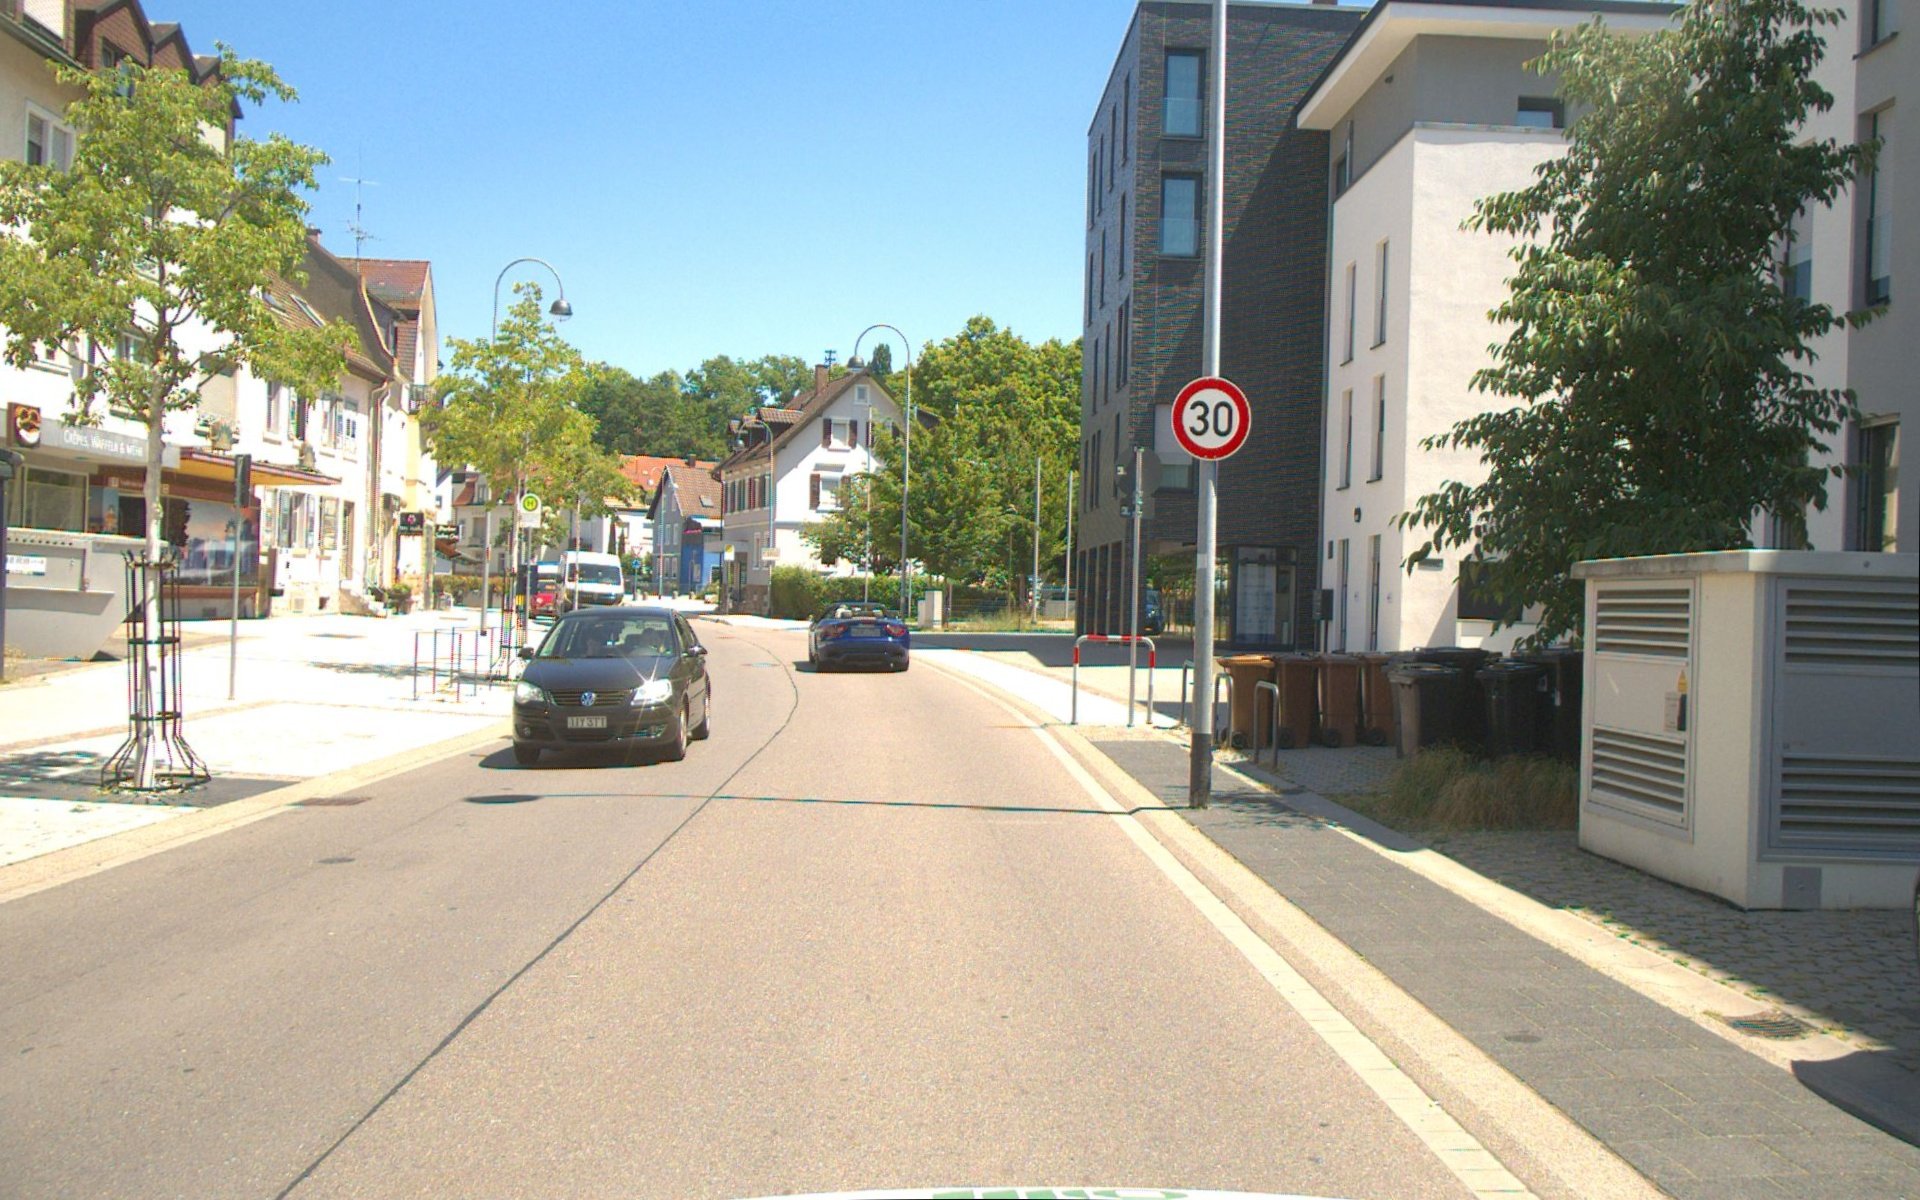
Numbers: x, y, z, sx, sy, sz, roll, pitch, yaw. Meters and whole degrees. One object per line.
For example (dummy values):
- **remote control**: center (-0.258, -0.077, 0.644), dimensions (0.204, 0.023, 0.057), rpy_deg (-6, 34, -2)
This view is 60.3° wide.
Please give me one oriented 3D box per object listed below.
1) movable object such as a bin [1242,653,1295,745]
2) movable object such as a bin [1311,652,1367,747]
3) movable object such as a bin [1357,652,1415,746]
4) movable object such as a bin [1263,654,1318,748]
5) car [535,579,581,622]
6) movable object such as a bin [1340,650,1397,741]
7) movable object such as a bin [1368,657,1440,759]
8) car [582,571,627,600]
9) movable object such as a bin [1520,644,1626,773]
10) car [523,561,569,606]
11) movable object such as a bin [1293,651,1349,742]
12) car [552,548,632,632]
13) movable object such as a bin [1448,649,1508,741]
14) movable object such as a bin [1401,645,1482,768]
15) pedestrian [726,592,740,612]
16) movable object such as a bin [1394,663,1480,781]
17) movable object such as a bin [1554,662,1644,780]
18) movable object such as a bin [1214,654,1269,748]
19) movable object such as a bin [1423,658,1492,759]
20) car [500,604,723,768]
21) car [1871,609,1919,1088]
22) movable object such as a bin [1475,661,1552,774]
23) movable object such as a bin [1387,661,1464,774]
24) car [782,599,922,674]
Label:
- **movable object such as a bin**: center (3.295, 1.049, 17.688), dimensions (0.463, 0.947, 0.528), rpy_deg (0, 0, -2)
- **movable object such as a bin**: center (3.930, 1.026, 17.165), dimensions (0.456, 0.947, 0.522), rpy_deg (0, 0, -2)
- **movable object such as a bin**: center (4.418, 1.016, 17.181), dimensions (0.456, 0.947, 0.522), rpy_deg (0, 0, -2)
- **movable object such as a bin**: center (3.417, 1.036, 17.132), dimensions (0.458, 0.947, 0.528), rpy_deg (0, 0, -2)
- **car**: center (-15.365, 0.001, 63.176), dimensions (1.534, 1.547, 3.500), rpy_deg (2, 0, -16)
- **movable object such as a bin**: center (4.378, 1.017, 17.742), dimensions (0.463, 0.947, 0.528), rpy_deg (0, 0, -2)
- **movable object such as a bin**: center (4.274, 1.034, 15.923), dimensions (0.509, 0.940, 0.434), rpy_deg (0, 0, -25)
- **car**: center (-26.518, -1.104, 123.307), dimensions (1.974, 2.049, 3.956), rpy_deg (2, 0, -32)
- **movable object such as a bin**: center (5.394, 0.942, 14.575), dimensions (0.635, 1.079, 0.623), rpy_deg (0, 0, -14)
- **car**: center (-22.794, -0.909, 90.901), dimensions (2.123, 2.403, 5.221), rpy_deg (1, 0, -18)
- **movable object such as a bin**: center (3.863, 1.029, 17.716), dimensions (0.463, 0.947, 0.528), rpy_deg (0, 0, -2)
- **car**: center (-12.296, -0.335, 55.086), dimensions (2.059, 2.541, 5.477), rpy_deg (4, -1, -17)
- **movable object such as a bin**: center (5.537, 1.008, 17.699), dimensions (0.463, 0.947, 0.528), rpy_deg (0, 0, -2)
- **movable object such as a bin**: center (4.347, 0.951, 14.948), dimensions (0.557, 1.079, 0.560), rpy_deg (0, 0, -1)
- **pedestrian**: center (-11.812, 0.107, 86.140), dimensions (0.581, 1.017, 0.719), rpy_deg (1, 1, -21)
- **movable object such as a bin**: center (3.988, 1.012, 13.835), dimensions (0.550, 0.947, 0.465), rpy_deg (0, 0, -8)
- **movable object such as a bin**: center (5.352, 1.008, 13.863), dimensions (0.550, 0.947, 0.465), rpy_deg (0, 0, -8)
- **movable object such as a bin**: center (2.909, 1.037, 17.104), dimensions (0.463, 0.947, 0.528), rpy_deg (0, 0, -2)
- **movable object such as a bin**: center (4.817, 1.045, 16.014), dimensions (0.475, 0.940, 0.434), rpy_deg (0, 0, -25)
- **car**: center (-3.439, 0.783, 16.944), dimensions (1.583, 1.479, 3.862), rpy_deg (0, 0, -2)
- **car**: center (4.738, 0.754, 4.587), dimensions (3.582, 1.470, 1.535), rpy_deg (0, -1, -1)
- **movable object such as a bin**: center (4.810, 1.014, 14.389), dimensions (0.475, 0.947, 0.466), rpy_deg (0, 0, -8)
- **movable object such as a bin**: center (4.066, 1.018, 14.455), dimensions (0.502, 0.947, 0.465), rpy_deg (0, 0, -8)
- **car**: center (-2.290, 0.699, 33.970), dimensions (1.881, 1.384, 4.264), rpy_deg (1, 0, -18)
